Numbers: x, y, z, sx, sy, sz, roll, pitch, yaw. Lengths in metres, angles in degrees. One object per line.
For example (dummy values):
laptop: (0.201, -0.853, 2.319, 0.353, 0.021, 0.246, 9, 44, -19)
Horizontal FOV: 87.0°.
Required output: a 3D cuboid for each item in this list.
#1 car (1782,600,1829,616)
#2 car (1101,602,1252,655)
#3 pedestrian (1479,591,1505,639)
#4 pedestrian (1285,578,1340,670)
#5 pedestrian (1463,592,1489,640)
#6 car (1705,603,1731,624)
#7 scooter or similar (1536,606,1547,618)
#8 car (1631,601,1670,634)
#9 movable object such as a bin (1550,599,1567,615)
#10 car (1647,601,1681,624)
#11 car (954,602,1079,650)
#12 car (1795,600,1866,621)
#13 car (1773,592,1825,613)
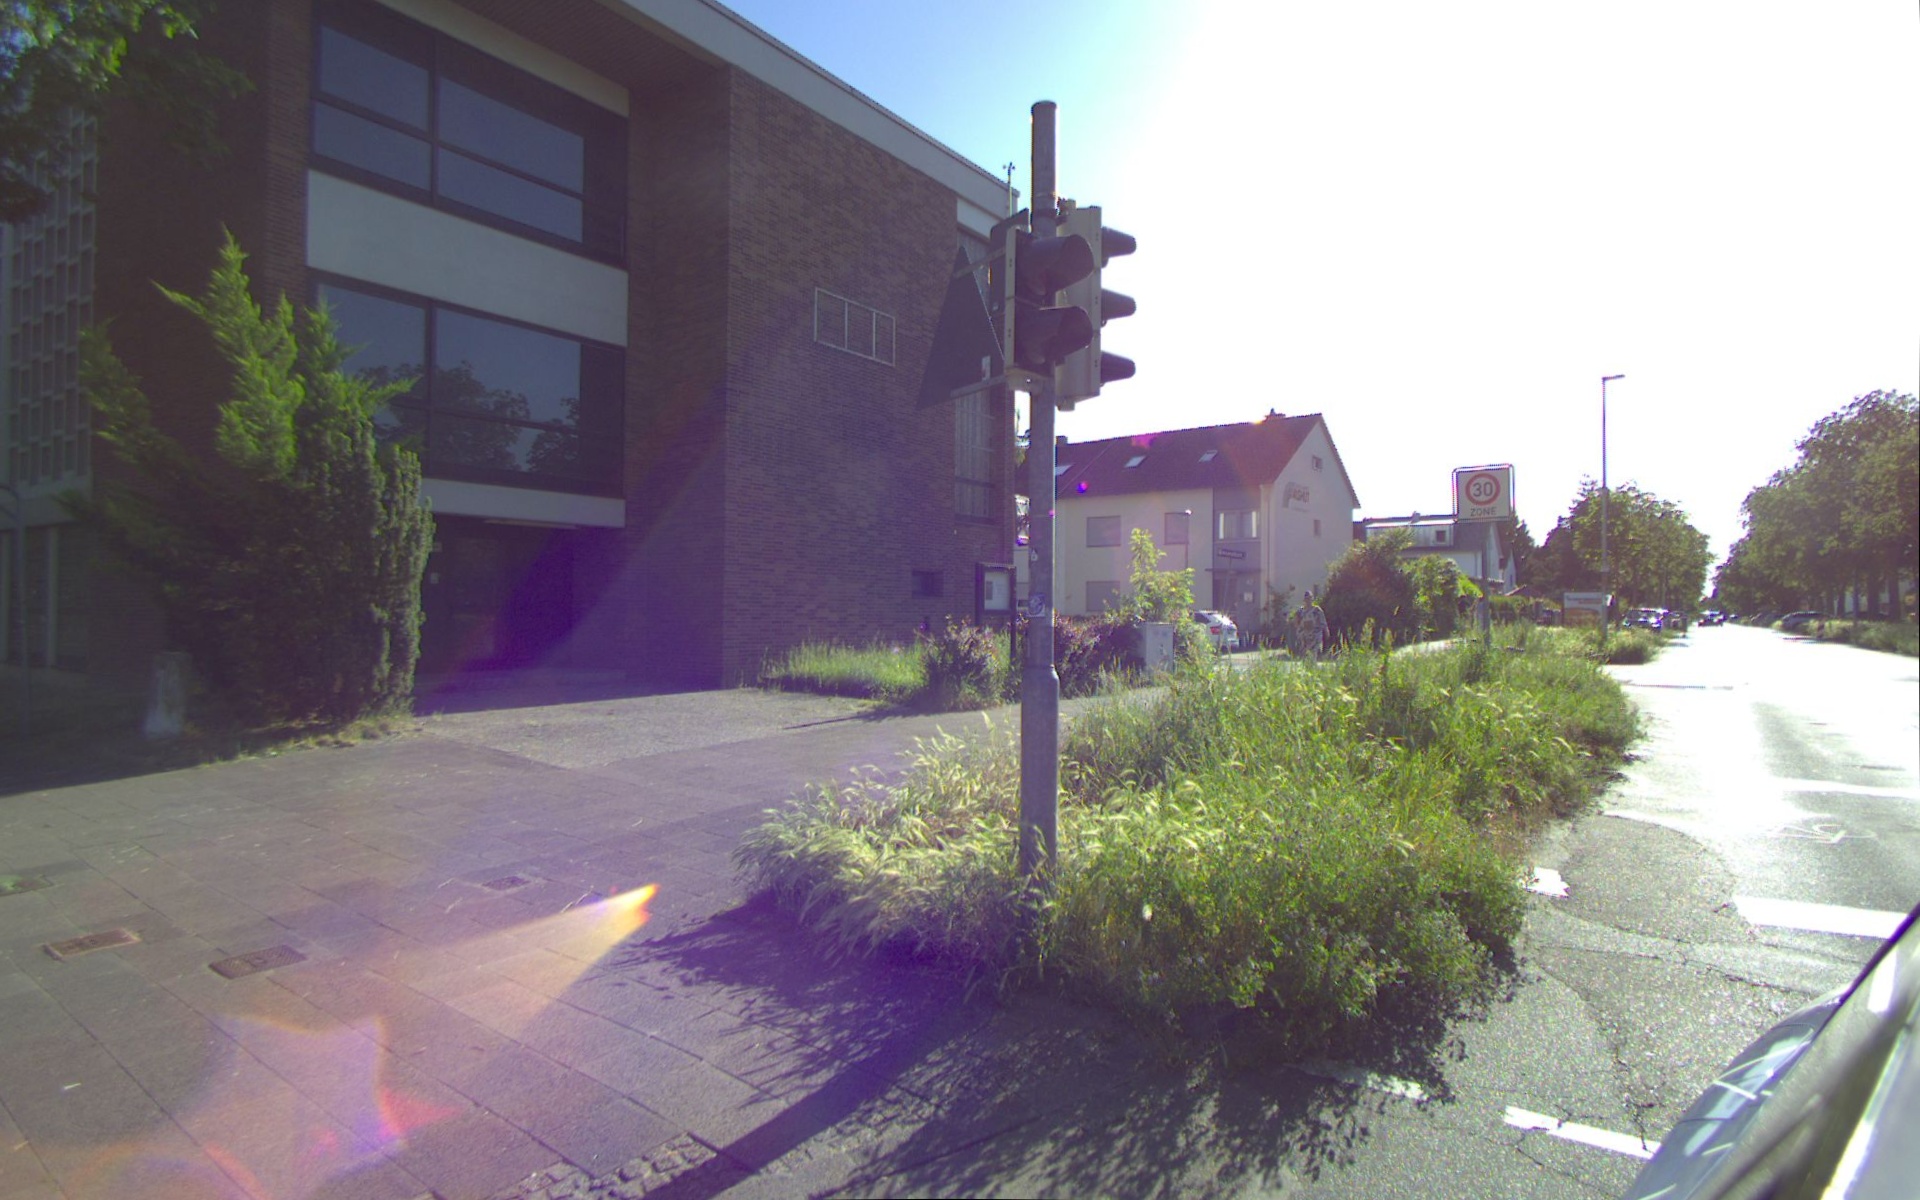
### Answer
car: (97.562, 0.943, 116.790, 3.976, 1.772, 1.866, -2, -1, 37)
car: (6.574, 0.850, 30.889, 4.185, 1.522, 1.781, 0, -2, 38)
pedestrian: (19.500, 0.554, 37.090, 0.649, 1.755, 0.555, -1, -1, -36)
pedestrian: (7.282, 0.487, 20.917, 0.895, 1.845, 0.728, -2, -1, 32)
pedestrian: (19.147, 0.582, 37.572, 0.627, 1.755, 0.607, -1, -1, -37)
car: (75.770, 1.366, 101.217, 1.988, 2.039, 3.946, -2, -1, 37)
scooter or similar: (36.854, 0.752, 64.168, 0.448, 0.725, 1.212, 4, 3, 36)
car: (34.891, 0.848, 51.118, 1.489, 1.594, 3.553, -1, -1, 37)
movable object such as a bin: (50.674, 0.558, 85.699, 1.166, 1.310, 0.916, 1, 1, 37)
car: (50.804, 0.879, 73.013, 1.726, 1.597, 3.802, 1, 0, 40)
car: (1.884, 0.863, 34.304, 3.934, 1.522, 1.781, -1, -2, 38)
car: (69.327, 0.860, 80.685, 4.184, 1.581, 1.972, -2, -1, 38)
car: (107.527, 0.322, 129.755, 5.102, 2.645, 2.094, -2, -1, 41)
